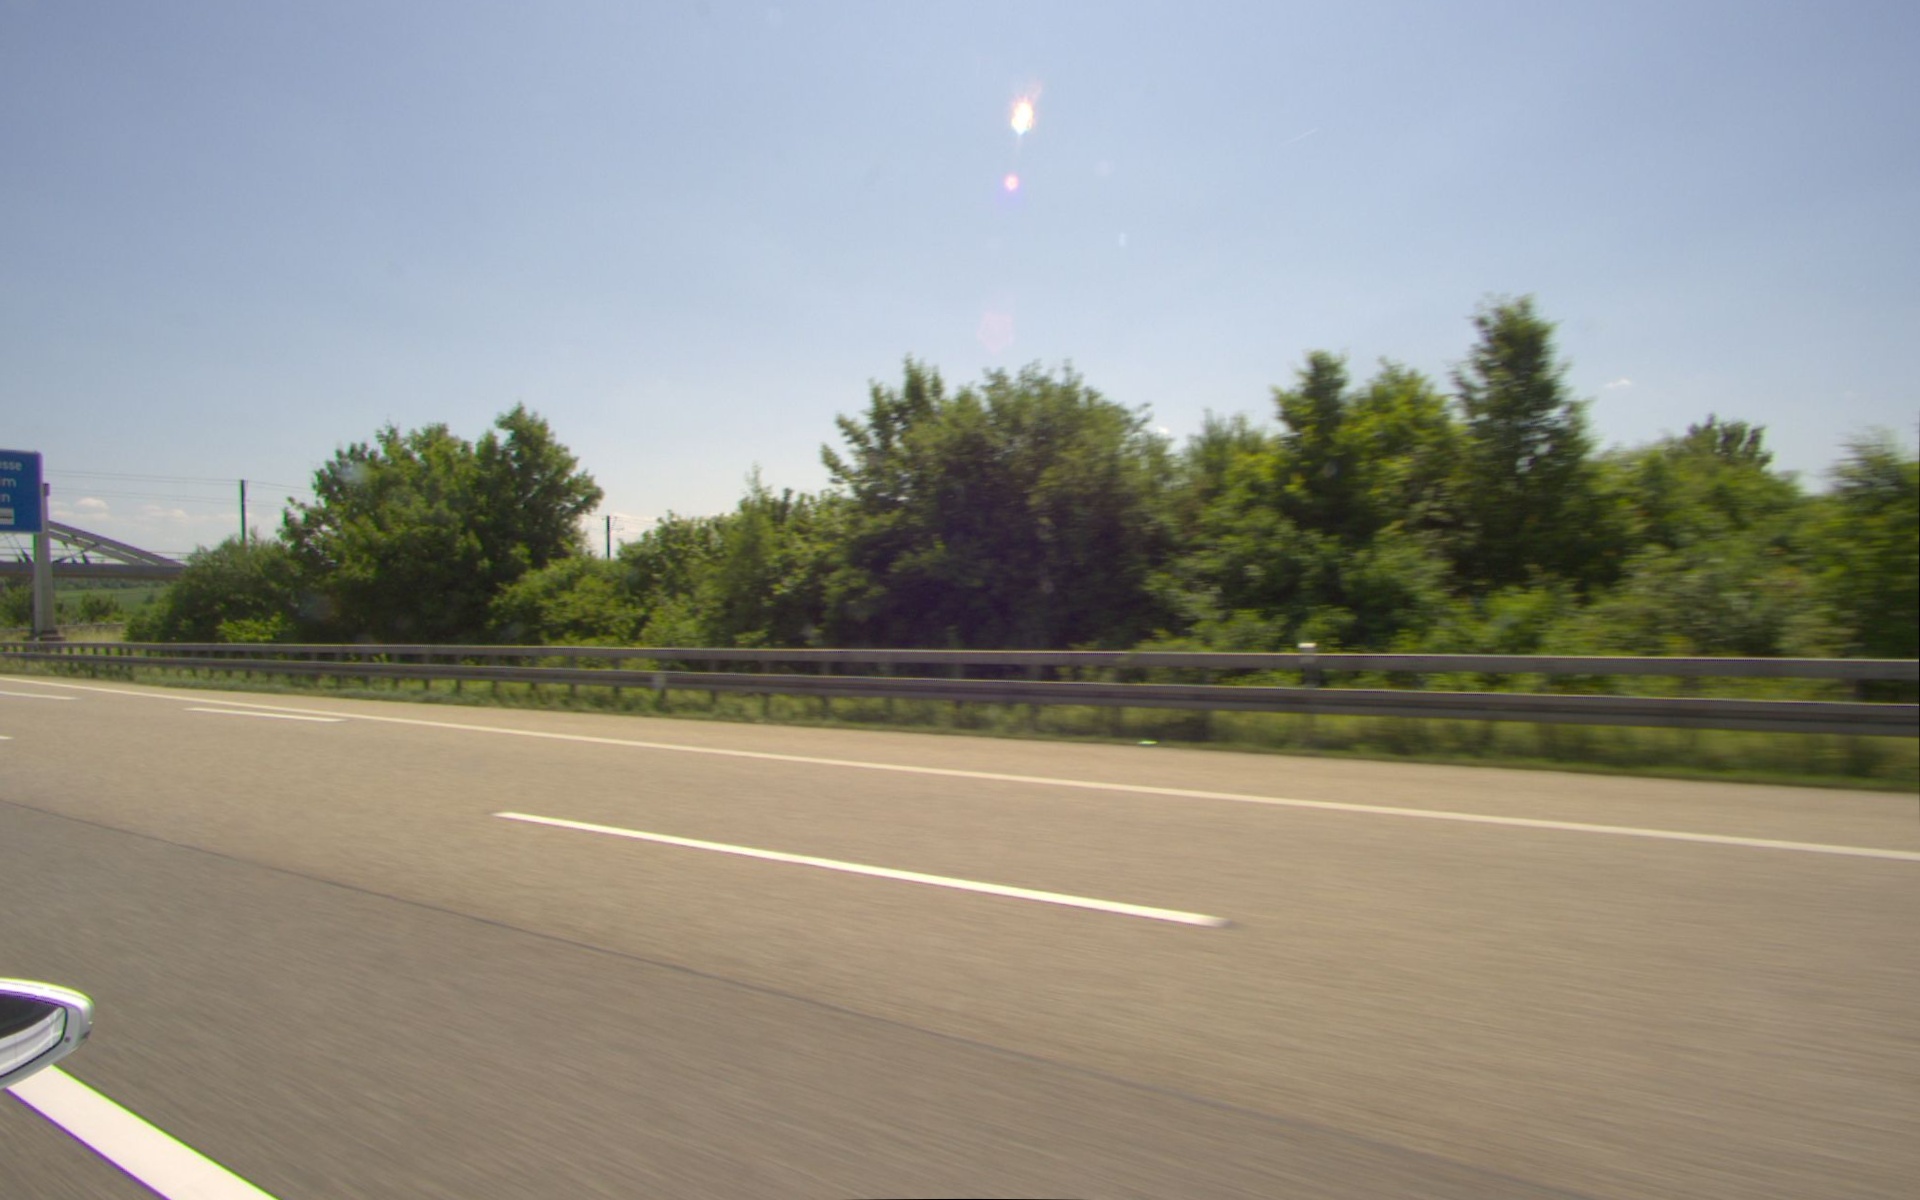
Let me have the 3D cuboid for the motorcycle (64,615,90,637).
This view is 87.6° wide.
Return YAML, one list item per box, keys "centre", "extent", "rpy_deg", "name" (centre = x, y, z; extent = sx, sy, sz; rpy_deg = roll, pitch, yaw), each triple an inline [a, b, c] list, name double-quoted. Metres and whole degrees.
- centre: [-57.453, 1.696, 65.154]
  extent: [1.843, 1.384, 0.758]
  rpy_deg: [-1, -2, 32]
  name: "motorcycle"

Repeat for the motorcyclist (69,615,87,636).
- centre: [-57.331, 1.656, 65.102]
  extent: [0.866, 1.384, 0.667]
  rpy_deg: [-1, -1, 33]
  name: "motorcyclist"
